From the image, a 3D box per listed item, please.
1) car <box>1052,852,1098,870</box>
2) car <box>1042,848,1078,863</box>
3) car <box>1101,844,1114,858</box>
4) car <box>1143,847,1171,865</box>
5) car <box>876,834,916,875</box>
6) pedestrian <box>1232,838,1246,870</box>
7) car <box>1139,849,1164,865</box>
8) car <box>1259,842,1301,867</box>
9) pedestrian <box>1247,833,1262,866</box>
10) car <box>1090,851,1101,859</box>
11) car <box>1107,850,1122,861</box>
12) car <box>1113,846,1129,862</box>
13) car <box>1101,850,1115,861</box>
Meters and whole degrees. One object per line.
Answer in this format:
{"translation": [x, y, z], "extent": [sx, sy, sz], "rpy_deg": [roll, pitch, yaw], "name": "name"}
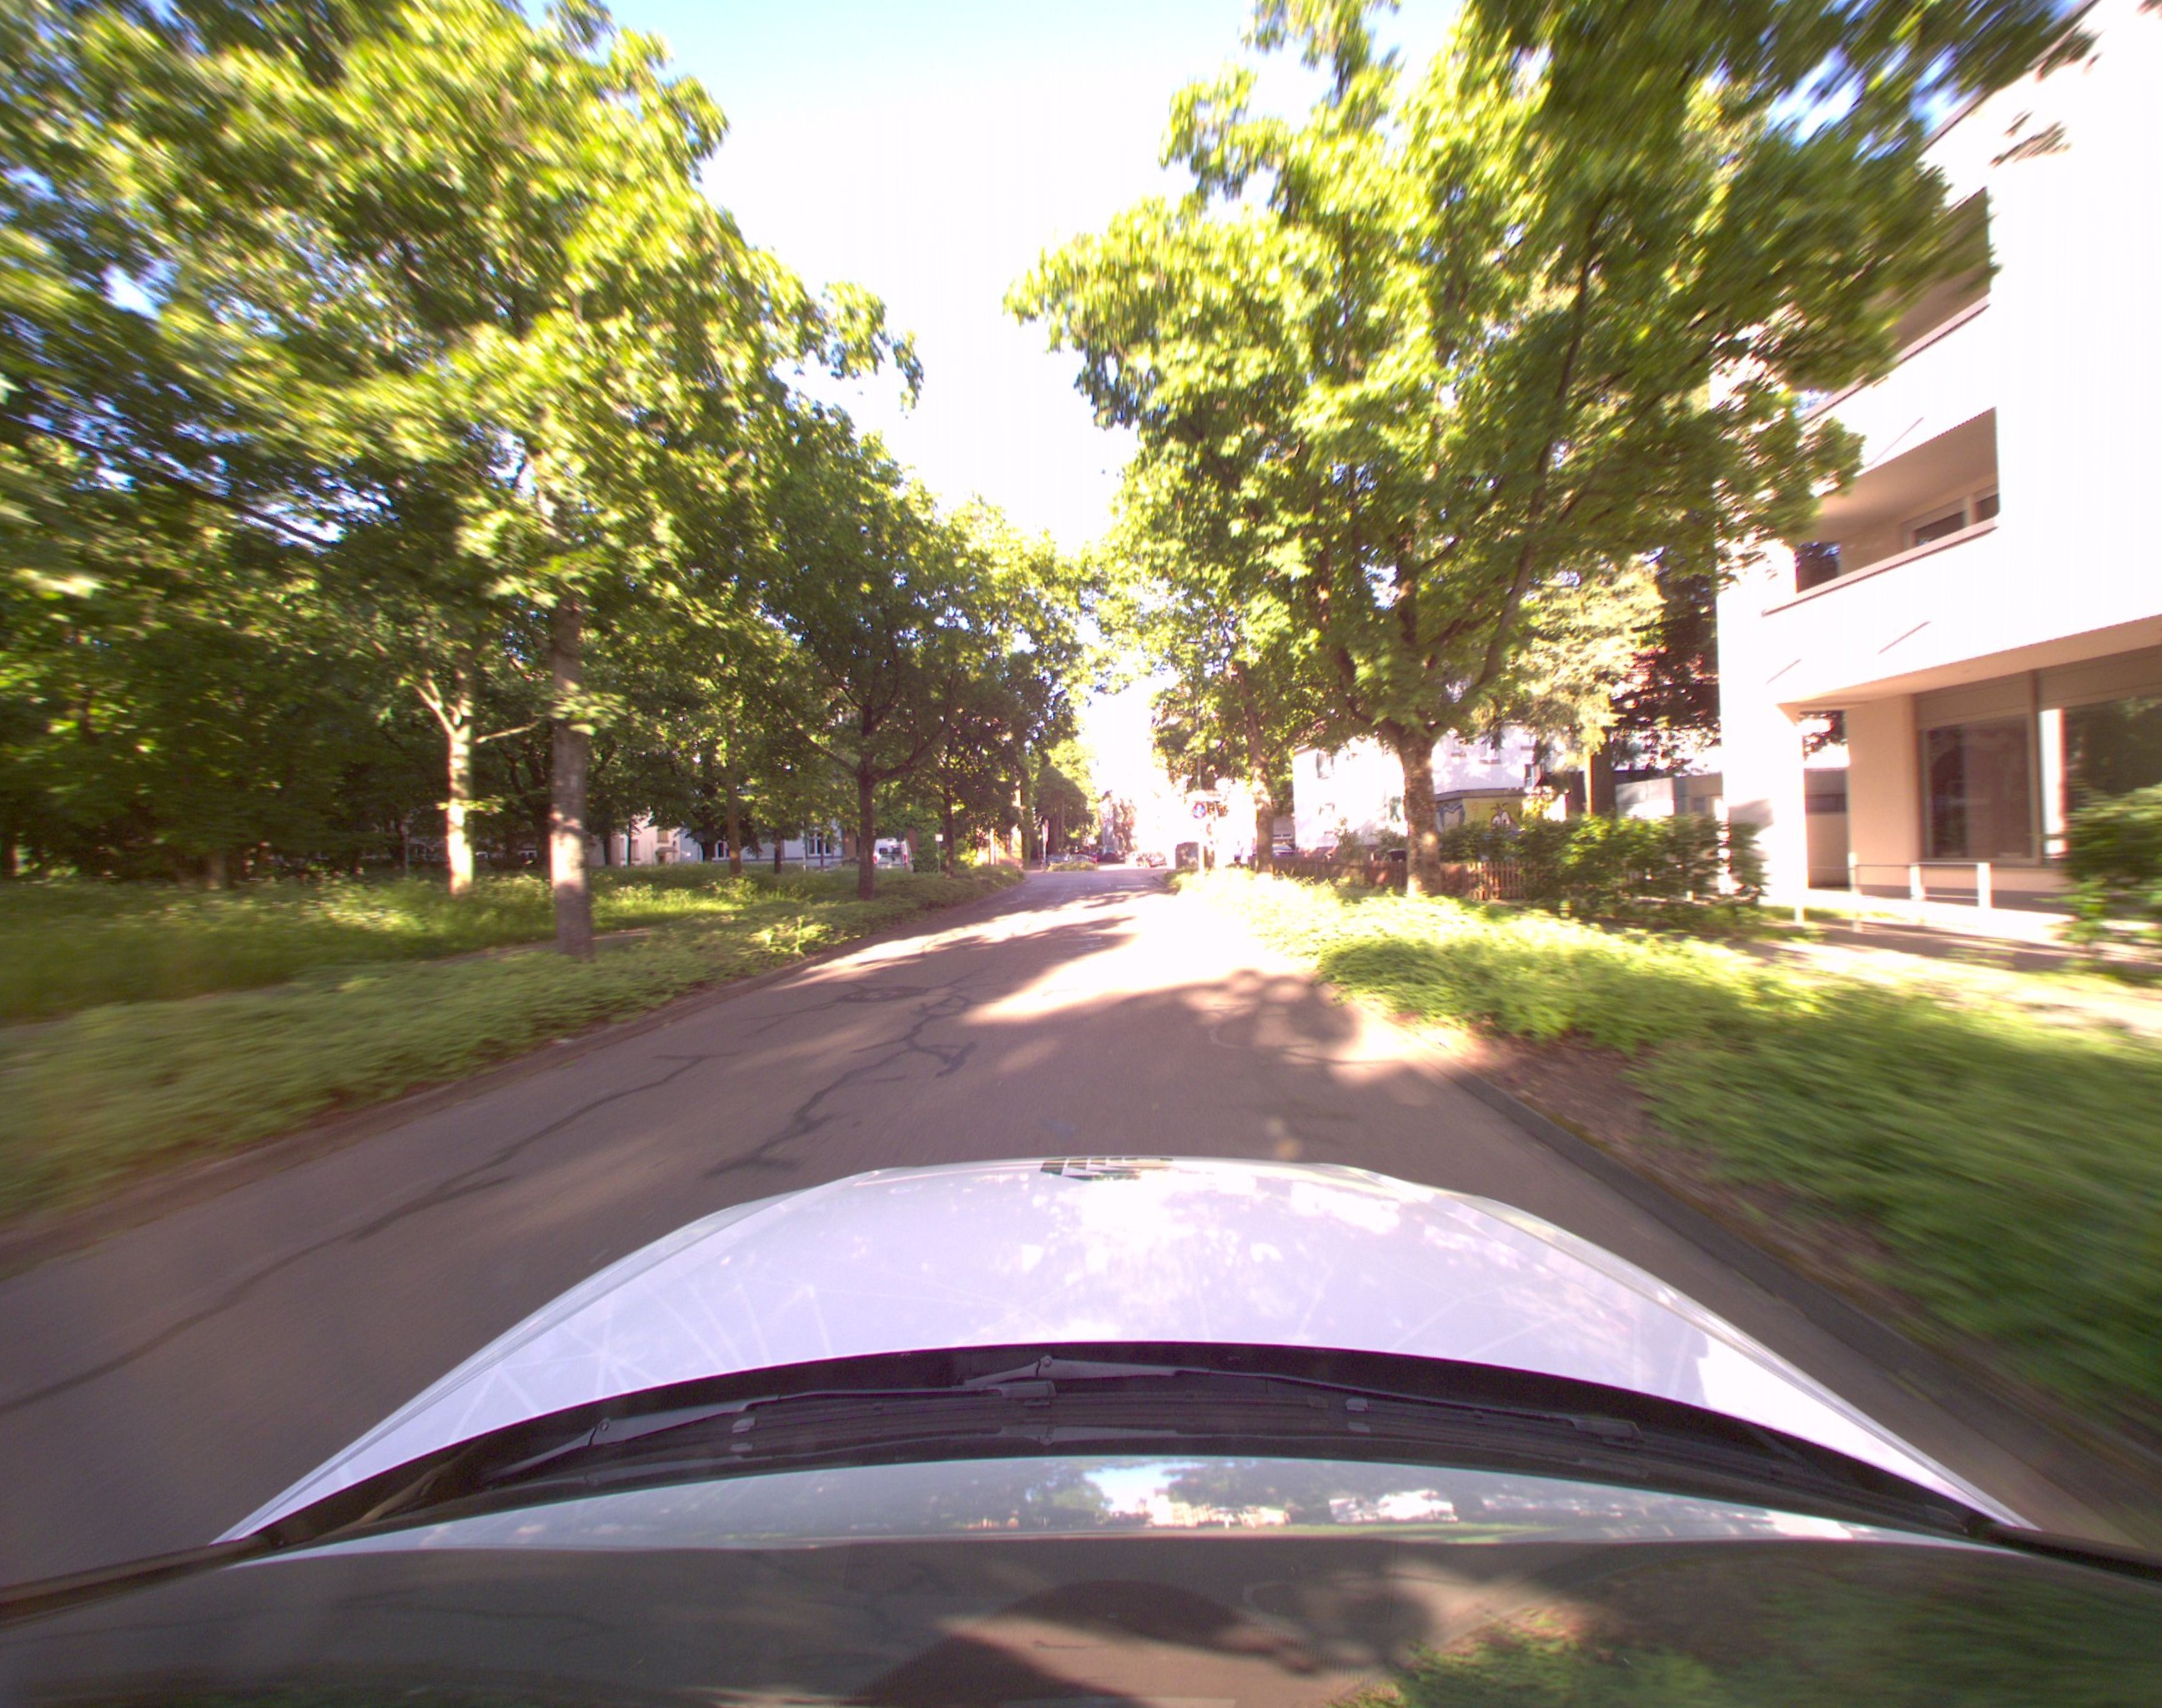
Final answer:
{"translation": [-0.545, 0.631, 72.932], "extent": [3.982, 1.501, 1.813], "rpy_deg": [-1, 0, -6], "name": "car"}
{"translation": [-2.168, 0.146, 84.331], "extent": [3.583, 1.510, 1.497], "rpy_deg": [-1, 0, -6], "name": "car"}
{"translation": [4.162, -0.481, 128.535], "extent": [1.806, 2.050, 3.998], "rpy_deg": [-1, 0, -1], "name": "car"}
{"translation": [6.980, 0.200, 74.863], "extent": [1.808, 1.501, 3.993], "rpy_deg": [-2, 0, -5], "name": "car"}
{"translation": [-11.760, 0.016, 51.889], "extent": [1.991, 2.508, 3.991], "rpy_deg": [-1, 0, -7], "name": "car"}
{"translation": [9.114, -0.005, 46.958], "extent": [0.614, 1.870, 0.694], "rpy_deg": [-1, 0, -5], "name": "pedestrian"}
{"translation": [7.023, 0.265, 81.125], "extent": [1.989, 1.574, 3.996], "rpy_deg": [-1, 0, -2], "name": "car"}
{"translation": [13.336, 0.022, 54.734], "extent": [1.986, 1.585, 3.641], "rpy_deg": [-1, 0, 2], "name": "car"}
{"translation": [10.004, -0.251, 46.961], "extent": [0.614, 1.870, 0.694], "rpy_deg": [-1, 0, -5], "name": "pedestrian"}
{"translation": [2.565, 0.189, 145.567], "extent": [1.806, 1.501, 3.998], "rpy_deg": [-1, 0, -1], "name": "car"}
{"translation": [4.548, 0.161, 111.766], "extent": [1.806, 1.501, 3.998], "rpy_deg": [-1, 0, -1], "name": "car"}
{"translation": [5.043, -0.047, 103.442], "extent": [1.806, 1.925, 3.998], "rpy_deg": [-1, 0, -1], "name": "car"}
{"translation": [3.967, 0.175, 118.326], "extent": [1.806, 1.501, 3.998], "rpy_deg": [-1, 0, -1], "name": "car"}
